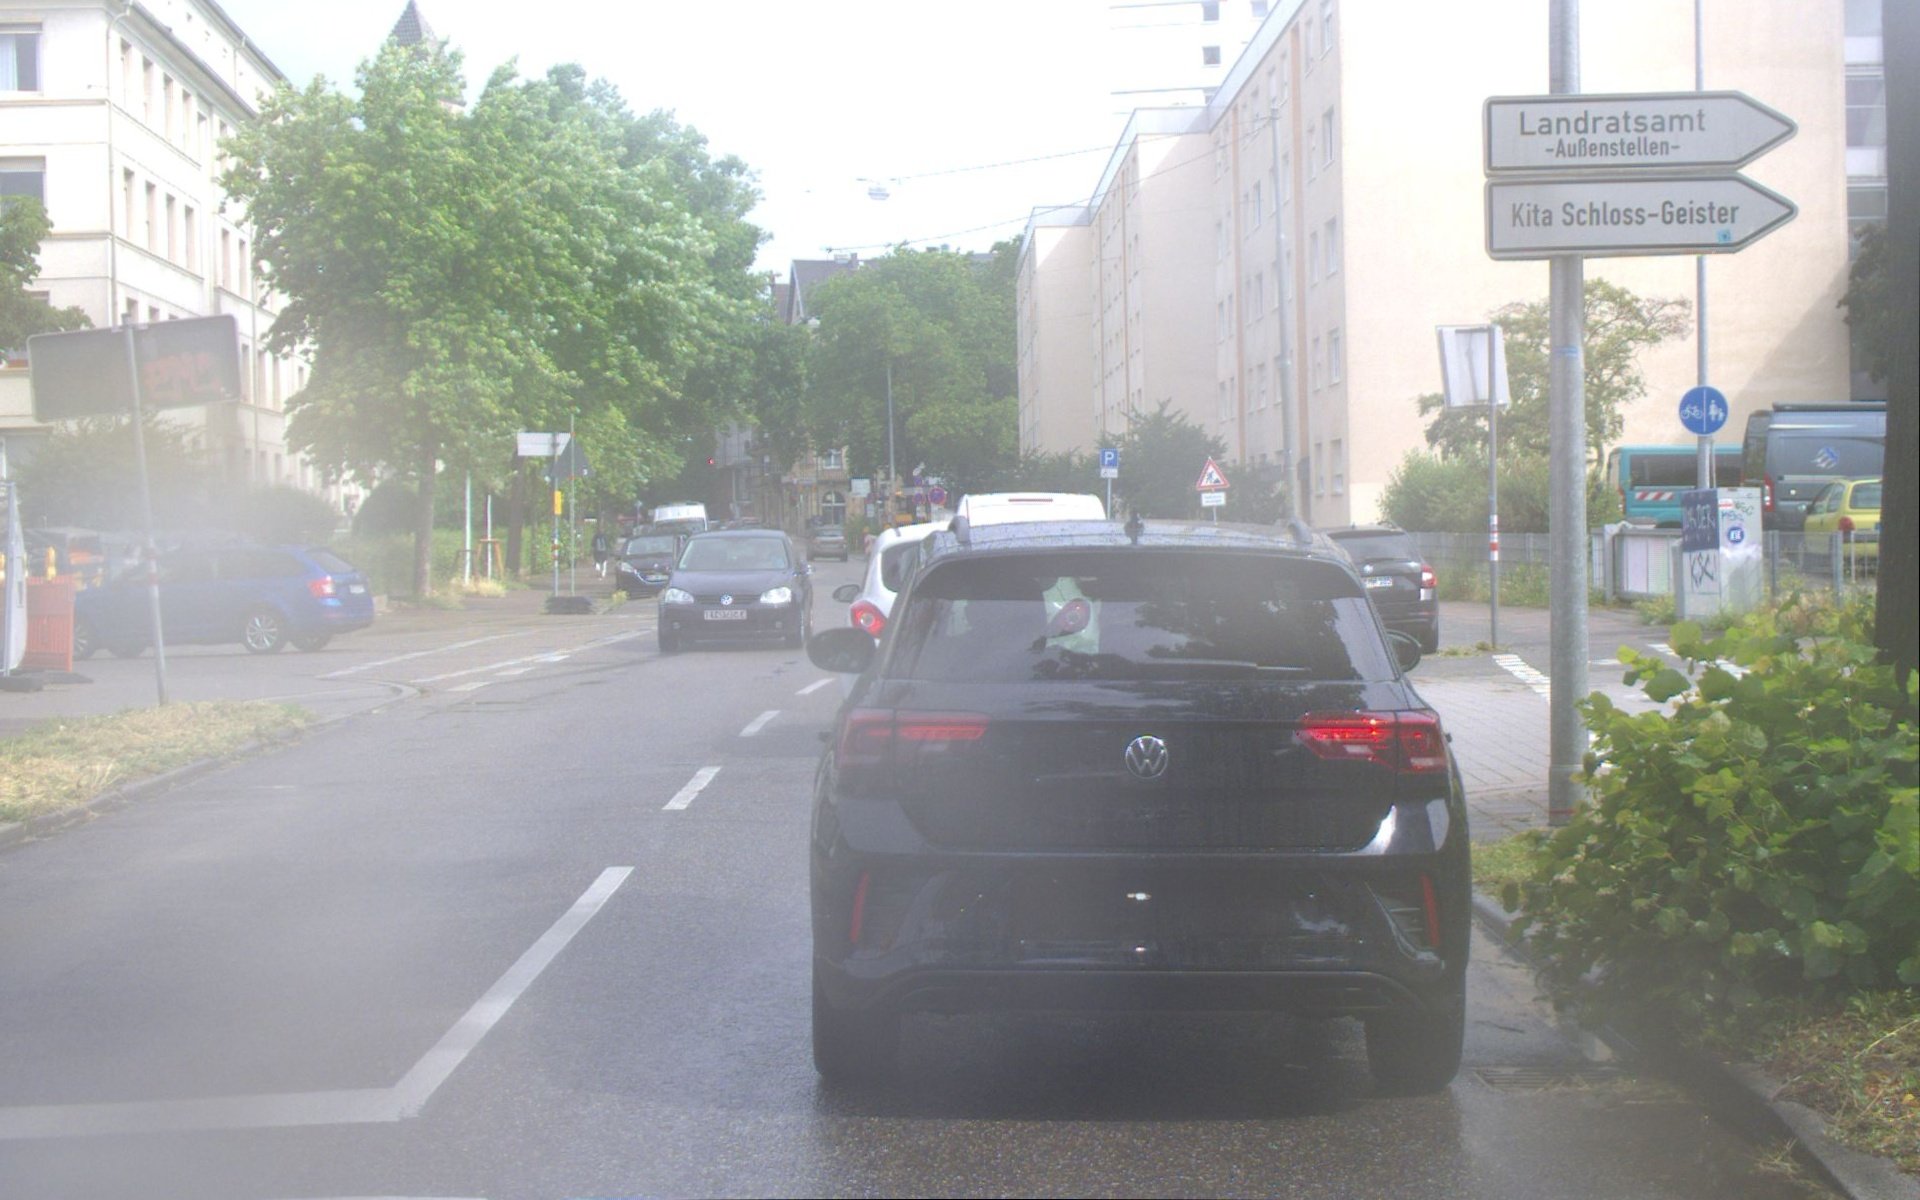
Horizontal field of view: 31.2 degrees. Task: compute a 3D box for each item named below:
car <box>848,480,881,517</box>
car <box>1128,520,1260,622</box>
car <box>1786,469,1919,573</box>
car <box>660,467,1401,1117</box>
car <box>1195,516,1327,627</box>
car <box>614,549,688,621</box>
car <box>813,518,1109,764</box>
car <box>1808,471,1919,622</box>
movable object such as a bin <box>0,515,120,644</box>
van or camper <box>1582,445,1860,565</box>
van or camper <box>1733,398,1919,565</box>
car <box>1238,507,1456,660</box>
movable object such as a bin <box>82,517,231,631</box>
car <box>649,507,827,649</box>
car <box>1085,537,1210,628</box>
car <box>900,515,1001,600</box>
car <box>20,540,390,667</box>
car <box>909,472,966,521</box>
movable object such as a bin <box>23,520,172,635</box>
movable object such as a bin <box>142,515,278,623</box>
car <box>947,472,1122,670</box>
[{"bbox_3d":[-5.052,-5.347,181.337,1.665,1.831,4.001,-2,2,-2],"label":"car"},{"bbox_3d":[3.753,-0.485,55.794,1.604,1.503,4.160,-3,1,-2],"label":"car"},{"bbox_3d":[13.352,-1.183,50.700,1.610,1.444,3.417,-2,1,2],"label":"car"},{"bbox_3d":[0.165,0.467,10.806,1.873,1.640,4.062,1,1,0],"label":"car"},{"bbox_3d":[4.409,-0.394,50.796,1.757,1.522,3.999,2,0,3],"label":"car"},{"bbox_3d":[-7.094,-0.366,78.999,1.585,1.500,4.065,-2,1,-5],"label":"car"},{"bbox_3d":[-0.001,0.234,23.238,1.813,1.498,4.000,1,0,0],"label":"car"},{"bbox_3d":[11.775,-0.697,42.147,1.804,1.744,4.238,-2,1,2],"label":"car"},{"bbox_3d":[-13.383,-0.301,50.463,1.539,1.818,1.262,-1,2,19],"label":"movable object such as a bin"},{"bbox_3d":[14.262,-1.787,64.667,4.760,2.124,2.321,-1,2,4],"label":"van or camper"},{"bbox_3d":[14.996,-1.868,54.430,4.998,2.546,2.175,-1,0,1],"label":"van or camper"},{"bbox_3d":[4.335,-0.232,39.113,1.774,1.534,4.379,-4,1,-2],"label":"car"},{"bbox_3d":[-12.507,-0.414,53.563,1.539,1.668,1.664,-1,2,19],"label":"movable object such as a bin"},{"bbox_3d":[-2.714,-0.305,42.838,1.841,1.602,4.000,-3,1,1],"label":"car"},{"bbox_3d":[3.356,-0.287,62.236,1.748,1.503,4.112,-1,-1,-4],"label":"car"},{"bbox_3d":[-0.206,-0.820,65.074,1.604,1.504,3.549,-2,1,-4],"label":"car"},{"bbox_3d":[-9.999,0.021,45.634,4.435,1.579,1.821,1,2,12],"label":"car"},{"bbox_3d":[-0.756,-3.556,118.446,1.841,1.602,3.675,-3,1,1],"label":"car"},{"bbox_3d":[-13.036,-0.343,52.003,1.539,1.650,1.526,-1,2,19],"label":"movable object such as a bin"},{"bbox_3d":[-12.007,-0.505,55.076,1.539,1.656,1.457,-1,2,19],"label":"movable object such as a bin"},{"bbox_3d":[0.847,-0.327,38.673,1.836,2.095,4.000,1,0,2],"label":"car"}]
